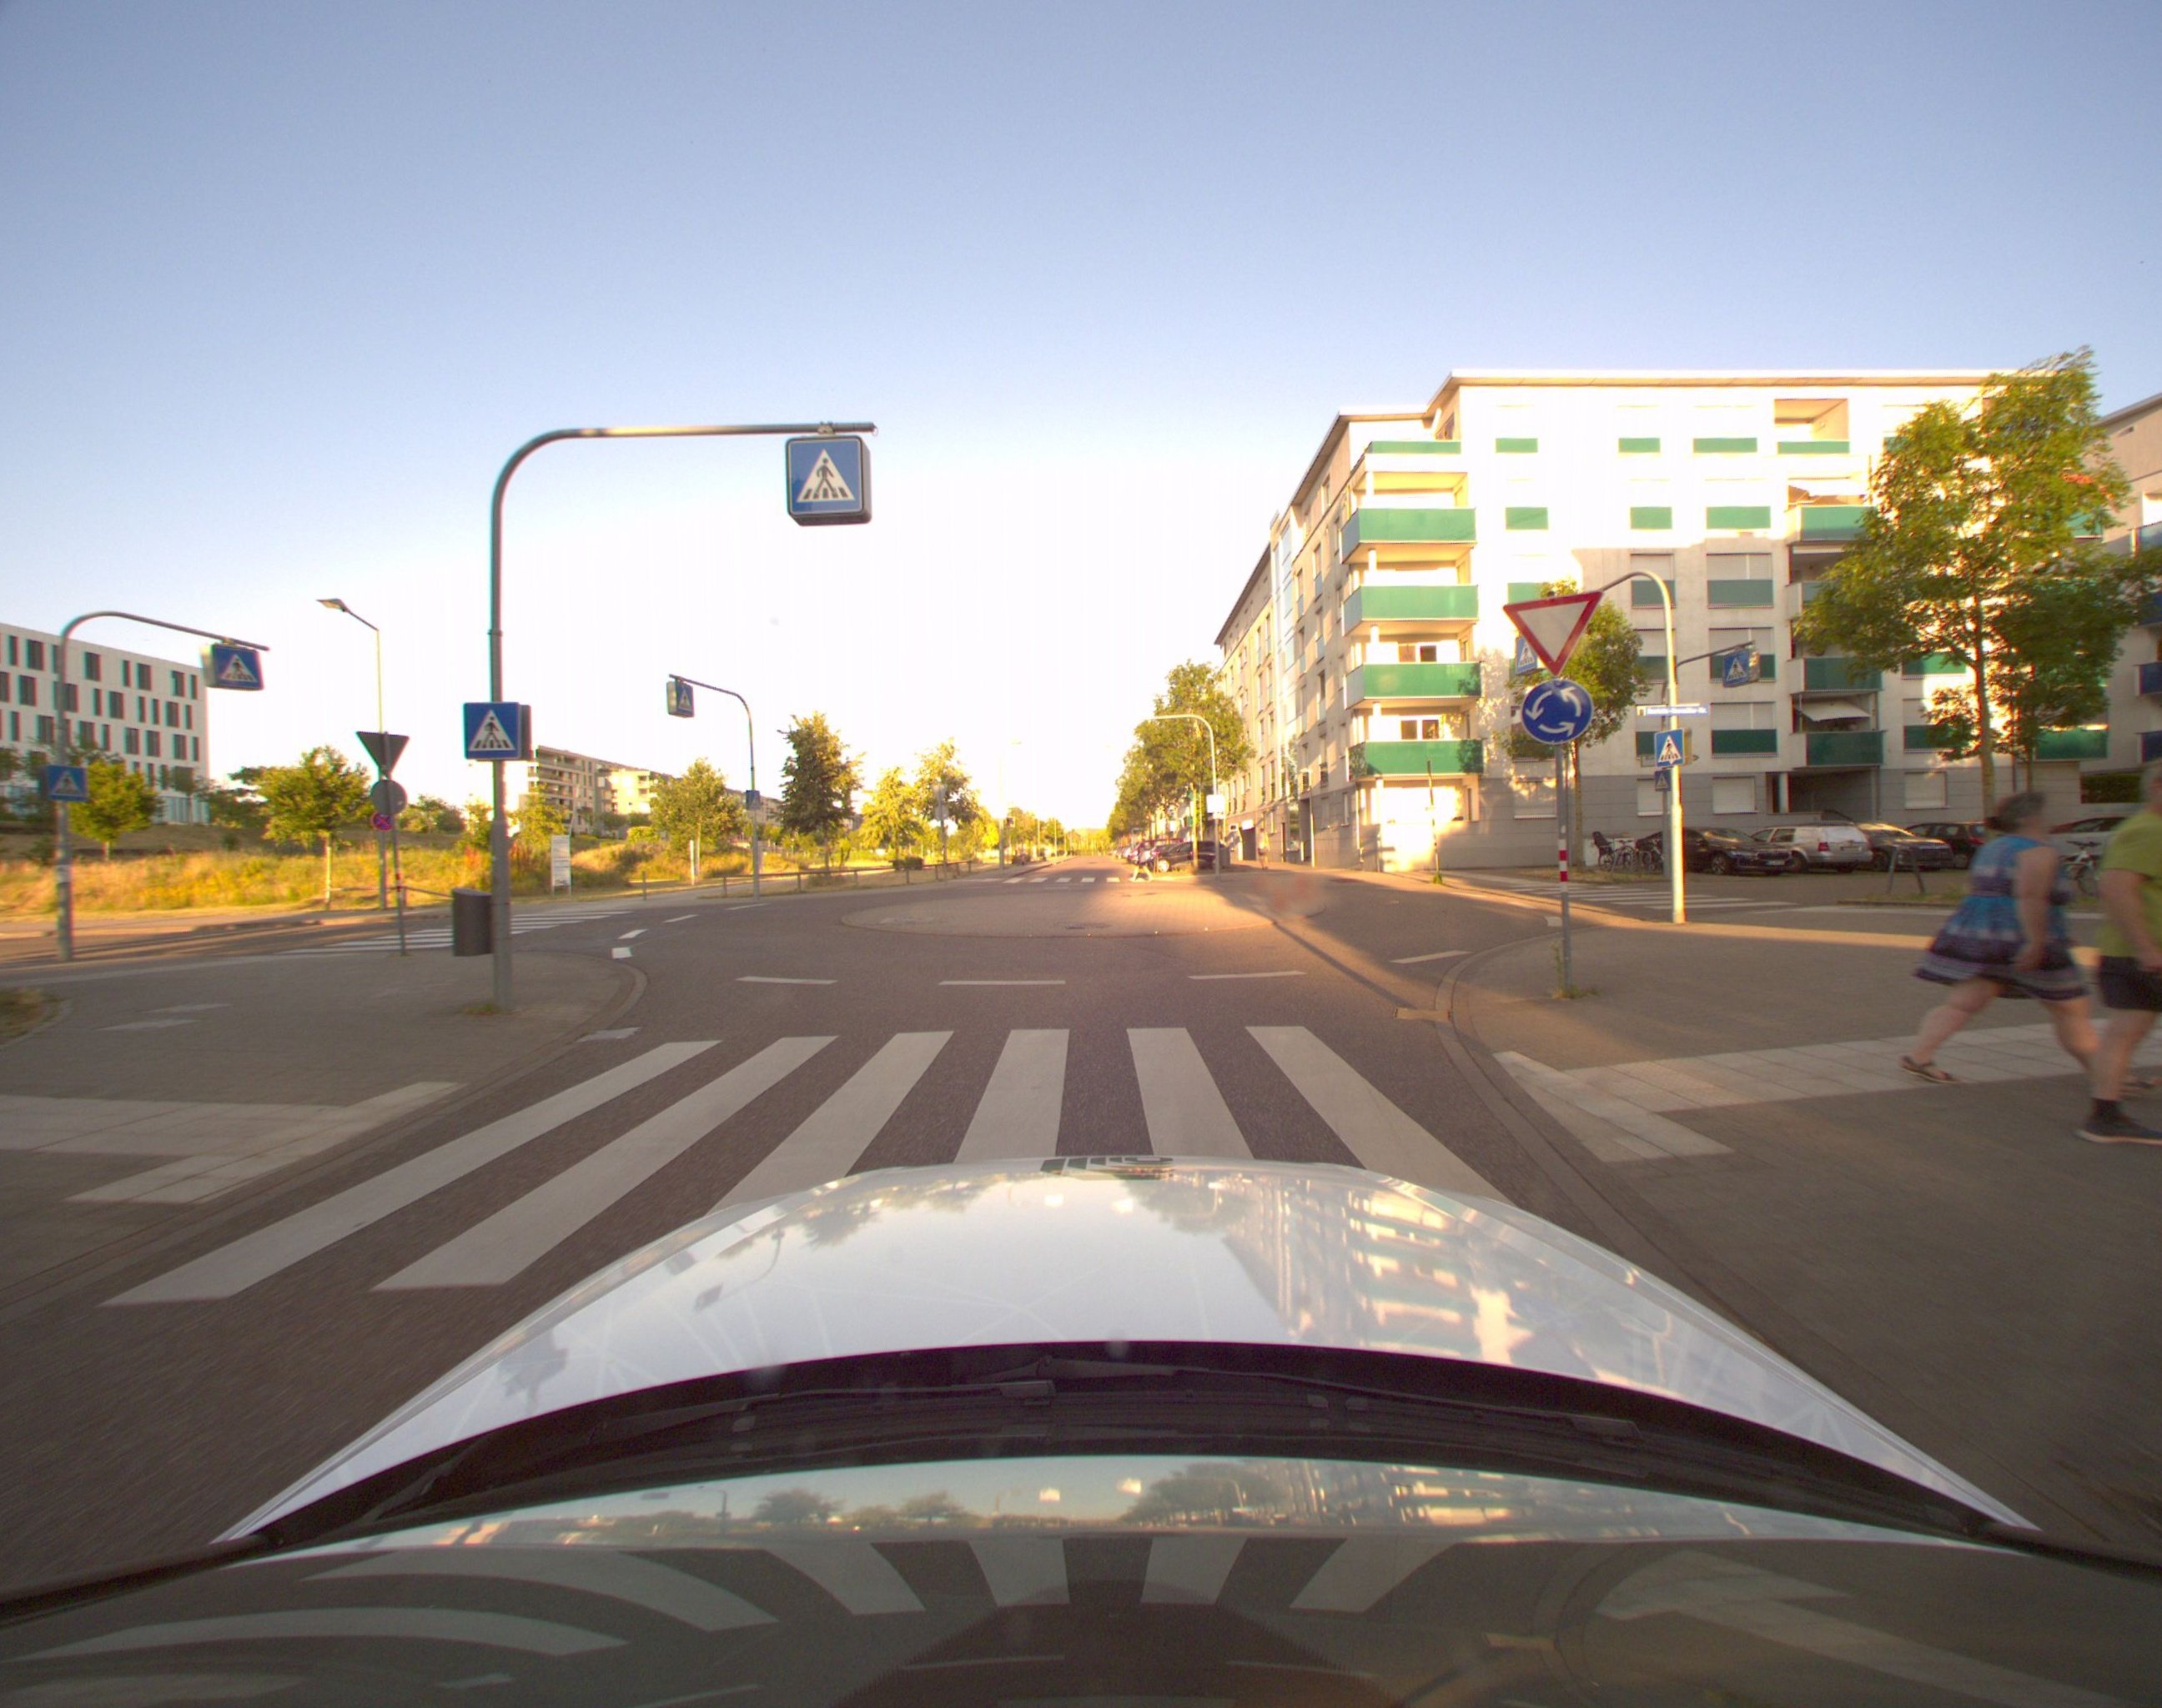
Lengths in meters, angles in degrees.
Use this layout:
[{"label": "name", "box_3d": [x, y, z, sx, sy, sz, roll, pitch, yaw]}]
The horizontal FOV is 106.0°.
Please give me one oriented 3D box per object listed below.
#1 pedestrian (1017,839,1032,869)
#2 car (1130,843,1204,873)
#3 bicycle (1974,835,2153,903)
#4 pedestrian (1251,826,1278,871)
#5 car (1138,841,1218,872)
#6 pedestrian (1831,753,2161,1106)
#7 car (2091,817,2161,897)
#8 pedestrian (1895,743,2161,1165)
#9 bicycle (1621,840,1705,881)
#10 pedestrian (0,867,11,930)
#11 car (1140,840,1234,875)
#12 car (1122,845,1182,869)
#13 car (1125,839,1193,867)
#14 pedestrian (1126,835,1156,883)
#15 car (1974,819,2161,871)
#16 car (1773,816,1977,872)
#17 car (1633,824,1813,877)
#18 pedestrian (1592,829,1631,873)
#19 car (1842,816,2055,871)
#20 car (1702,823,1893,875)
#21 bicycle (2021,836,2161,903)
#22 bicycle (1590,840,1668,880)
[{"label": "pedestrian", "box_3d": [-3.872, -0.019, 55.504, 0.866, 2.013, 0.787, -2, 0, -9]}, {"label": "car", "box_3d": [5.128, 0.221, 48.871, 4.247, 1.596, 2.001, -2, 0, 2]}, {"label": "bicycle", "box_3d": [17.524, 0.291, 14.615, 0.720, 1.114, 1.939, -2, -3, -4]}, {"label": "pedestrian", "box_3d": [8.365, -0.246, 37.174, 0.938, 2.013, 0.848, -2, 0, -3]}, {"label": "car", "box_3d": [5.449, 0.148, 46.131, 4.338, 1.596, 2.001, -2, 0, 2]}, {"label": "pedestrian", "box_3d": [4.966, 0.393, 4.405, 0.978, 1.693, 0.701, -4, -3, 6]}, {"label": "car", "box_3d": [20.732, -0.037, 13.785, 1.989, 1.453, 4.111, -2, -3, -4]}, {"label": "pedestrian", "box_3d": [4.519, 0.400, 3.614, 1.009, 1.693, 0.764, -5, -2, 31]}, {"label": "bicycle", "box_3d": [17.684, 0.180, 24.840, 0.686, 1.151, 2.520, -2, 0, -1]}, {"label": "pedestrian", "box_3d": [-31.425, 1.286, 23.170, 0.864, 1.786, 0.789, -2, 0, -1]}, {"label": "car", "box_3d": [5.276, 0.176, 40.968, 4.467, 1.596, 2.001, -2, 0, 2]}, {"label": "car", "box_3d": [5.288, 0.207, 61.086, 4.249, 1.596, 2.000, -2, 0, 0]}, {"label": "car", "box_3d": [6.103, -0.083, 64.147, 4.992, 2.045, 2.247, -2, 0, -4]}, {"label": "pedestrian", "box_3d": [2.277, 0.189, 30.927, 1.002, 1.788, 0.761, 0, 0, -6]}, {"label": "car", "box_3d": [32.678, -0.298, 26.597, 1.987, 1.553, 4.592, -2, 0, -1]}, {"label": "car", "box_3d": [25.125, -0.300, 26.060, 1.987, 1.553, 4.592, -2, 0, -1]}, {"label": "car", "box_3d": [19.869, -0.113, 25.516, 1.987, 1.453, 4.592, -2, 0, -1]}, {"label": "pedestrian", "box_3d": [16.902, -0.096, 25.966, 0.655, 1.355, 0.802, -2, 0, -2]}, {"label": "car", "box_3d": [27.844, -0.323, 26.415, 1.987, 1.553, 4.592, -2, 0, -1]}, {"label": "car", "box_3d": [22.523, -0.144, 25.889, 1.987, 1.453, 4.592, -2, 0, -1]}, {"label": "bicycle", "box_3d": [18.361, 0.295, 14.568, 0.720, 1.114, 1.939, -2, -3, -4]}, {"label": "bicycle", "box_3d": [16.920, 0.176, 25.243, 0.694, 1.151, 2.459, -2, 0, -1]}]
